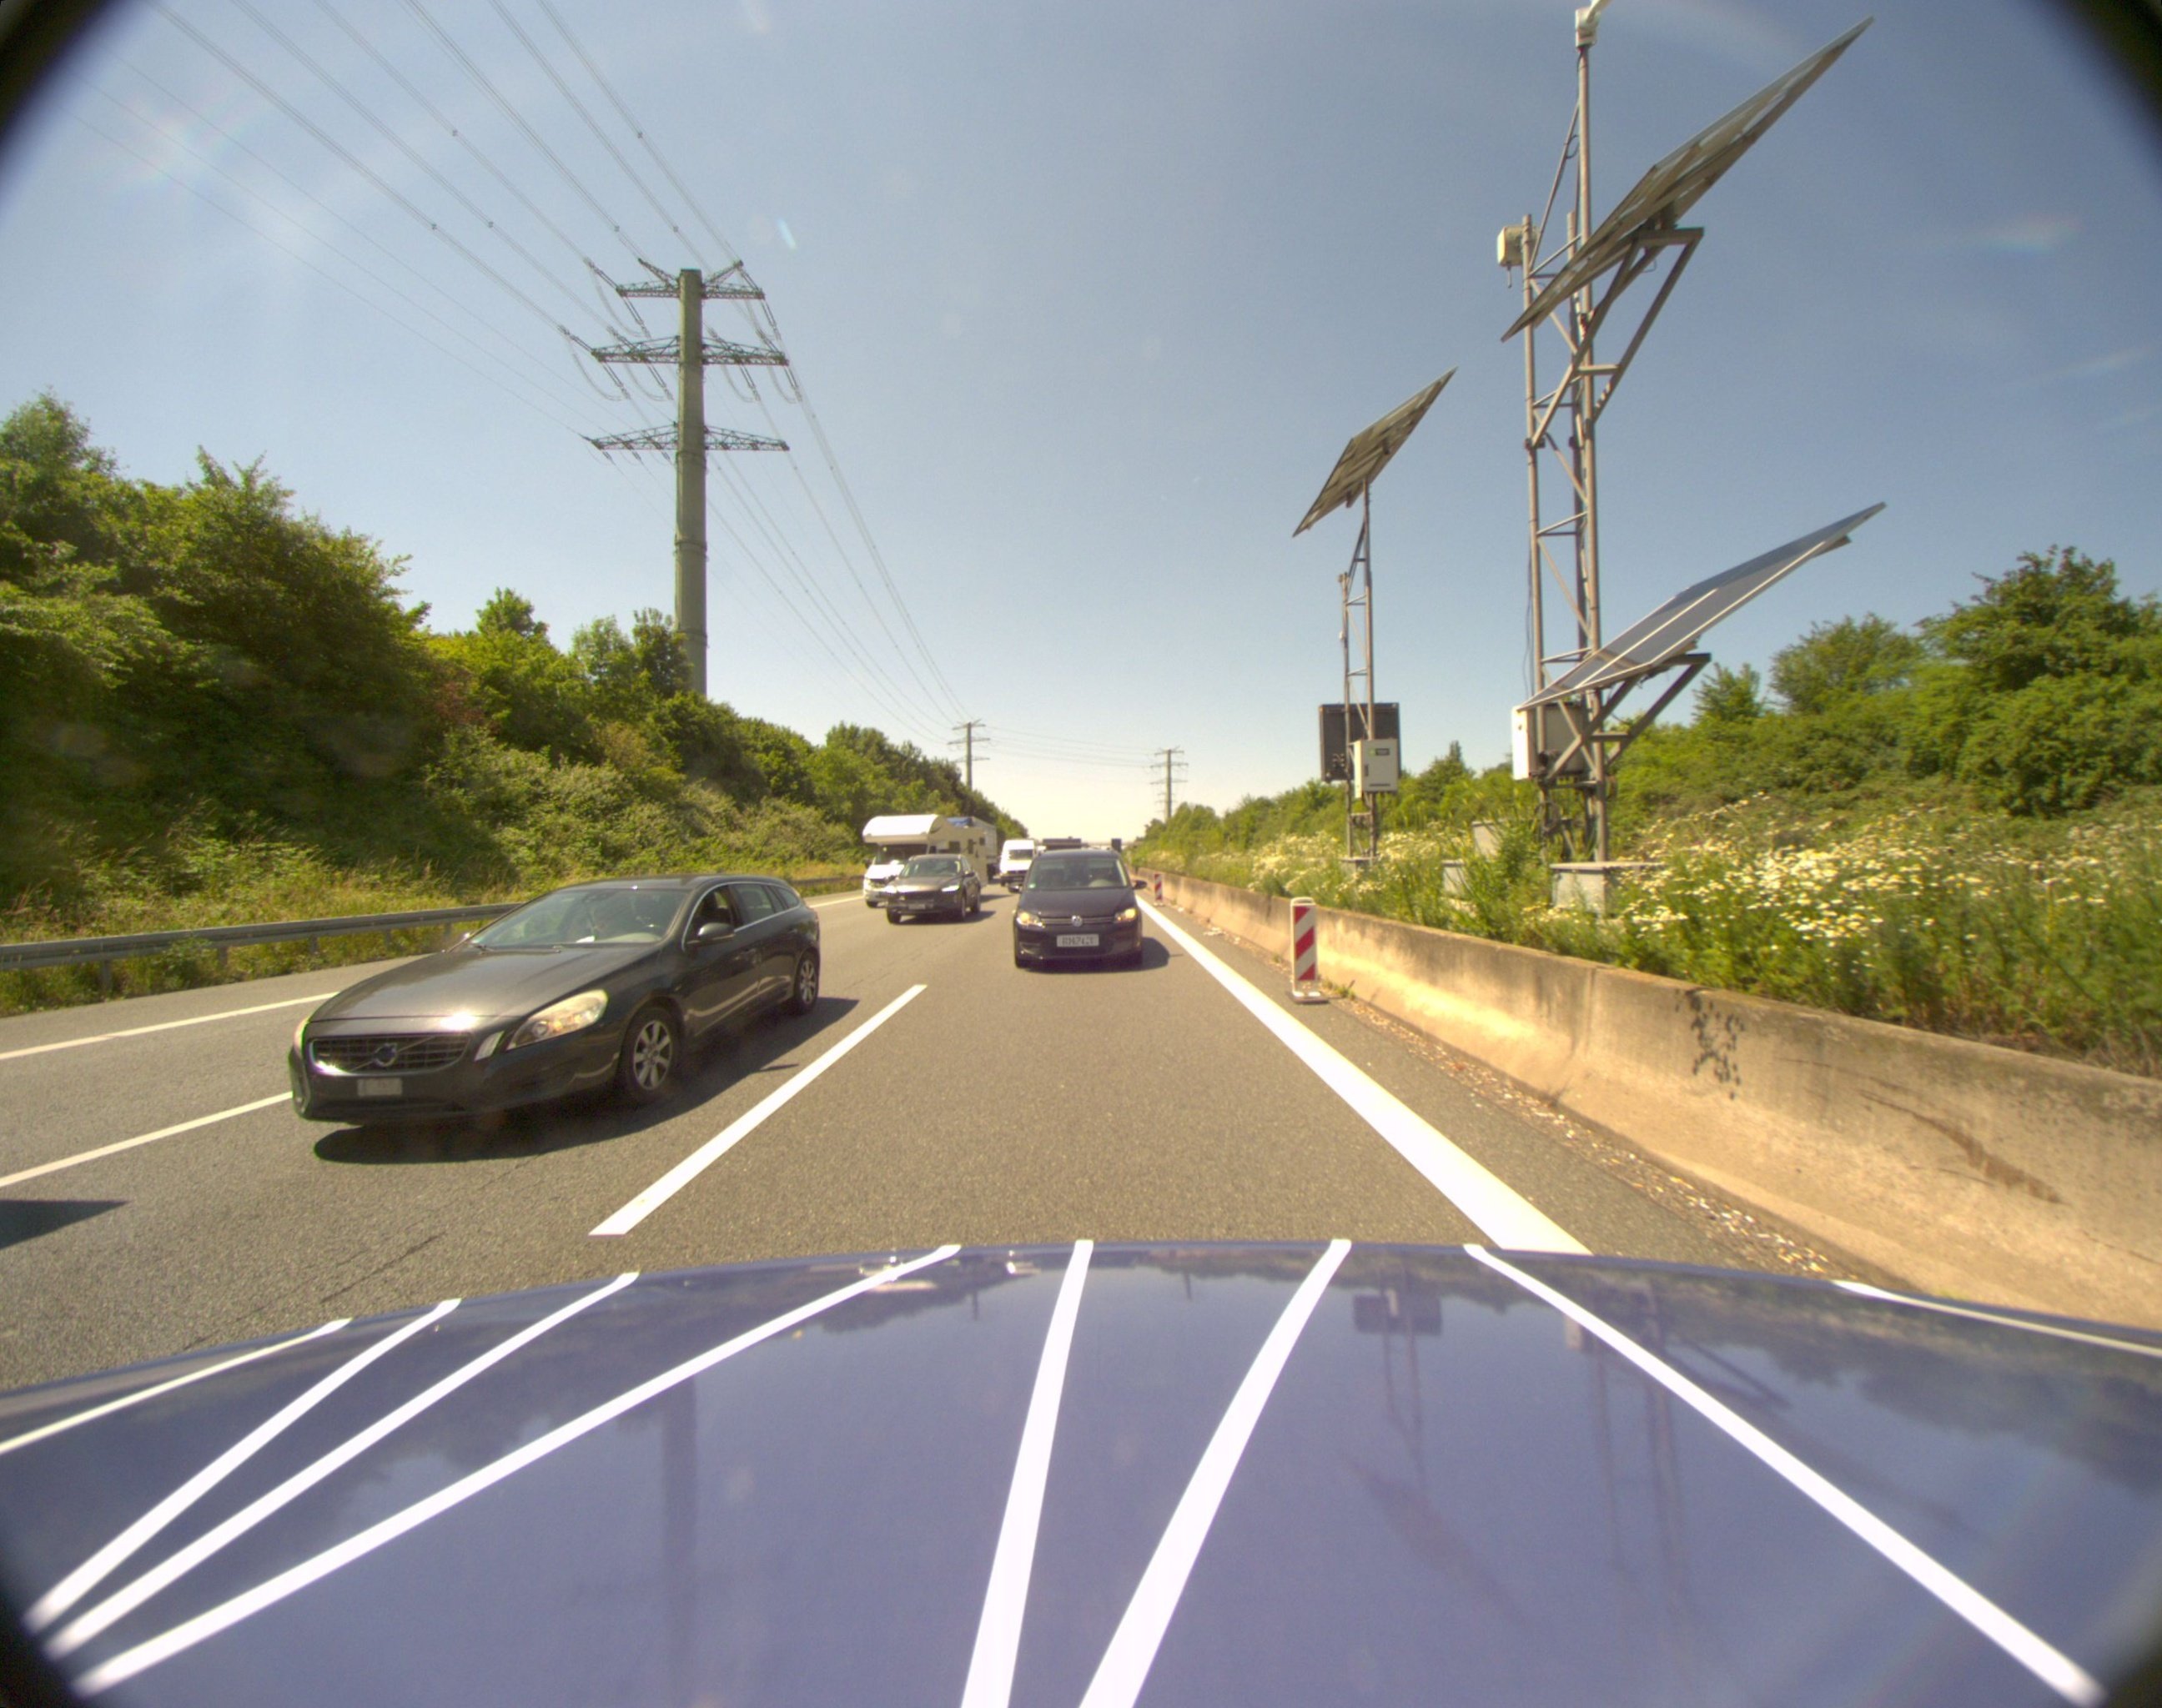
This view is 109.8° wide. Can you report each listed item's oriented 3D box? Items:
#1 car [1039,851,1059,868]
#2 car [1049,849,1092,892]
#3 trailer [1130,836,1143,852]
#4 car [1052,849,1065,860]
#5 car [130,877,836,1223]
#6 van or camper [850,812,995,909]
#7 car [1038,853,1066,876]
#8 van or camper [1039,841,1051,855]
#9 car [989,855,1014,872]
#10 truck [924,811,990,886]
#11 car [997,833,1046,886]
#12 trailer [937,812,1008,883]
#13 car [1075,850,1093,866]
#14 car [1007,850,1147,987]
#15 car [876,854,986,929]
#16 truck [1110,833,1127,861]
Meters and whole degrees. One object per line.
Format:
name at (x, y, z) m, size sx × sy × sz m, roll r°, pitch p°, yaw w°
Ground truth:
car at (-3.196, 0.532, 76.234) m, size 1.720 × 1.510 × 3.874 m, roll -2°, pitch 1°, yaw 1°
car at (-0.399, 0.656, 33.047) m, size 1.700 × 1.641 × 4.219 m, roll -2°, pitch 1°, yaw 1°
trailer at (15.872, -2.889, 217.769) m, size 2.967 × 4.378 × 12.904 m, roll -2°, pitch 1°, yaw 1°
car at (-3.383, 0.002, 113.389) m, size 1.720 × 1.510 × 3.874 m, roll -2°, pitch 1°, yaw 1°
car at (-3.588, 1.016, 5.894) m, size 1.799 × 1.411 × 4.509 m, roll -2°, pitch 1°, yaw 1°
van or camper at (-5.490, 0.150, 27.939) m, size 2.373 × 3.026 × 7.637 m, roll -2°, pitch 1°, yaw 10°
car at (-2.057, 0.749, 55.370) m, size 1.720 × 1.510 × 3.874 m, roll -2°, pitch 1°, yaw 1°
van or camper at (-6.965, -1.163, 148.720) m, size 1.978 × 2.511 × 4.369 m, roll -2°, pitch 1°, yaw 1°
car at (-7.464, 0.862, 71.595) m, size 1.720 × 1.510 × 3.874 m, roll -2°, pitch 1°, yaw 1°
truck at (-7.390, -0.334, 45.955) m, size 2.792 × 4.121 × 5.636 m, roll -2°, pitch 1°, yaw 1°
car at (-3.248, 0.234, 42.971) m, size 2.042 × 2.703 × 6.705 m, roll -2°, pitch 1°, yaw 1°
trailer at (-7.301, -0.465, 53.306) m, size 2.774 × 4.239 × 12.877 m, roll -2°, pitch 1°, yaw 1°
car at (0.333, 0.470, 87.827) m, size 1.973 × 1.682 × 3.874 m, roll -2°, pitch 1°, yaw 1°
car at (-0.023, 0.798, 11.654) m, size 1.700 × 1.641 × 4.219 m, roll -2°, pitch 1°, yaw 1°
car at (-3.704, 0.866, 19.548) m, size 1.893 × 1.602 × 4.219 m, roll -2°, pitch 1°, yaw 1°
truck at (4.666, -0.856, 94.455) m, size 1.892 × 3.264 × 5.590 m, roll -2°, pitch 1°, yaw 1°
